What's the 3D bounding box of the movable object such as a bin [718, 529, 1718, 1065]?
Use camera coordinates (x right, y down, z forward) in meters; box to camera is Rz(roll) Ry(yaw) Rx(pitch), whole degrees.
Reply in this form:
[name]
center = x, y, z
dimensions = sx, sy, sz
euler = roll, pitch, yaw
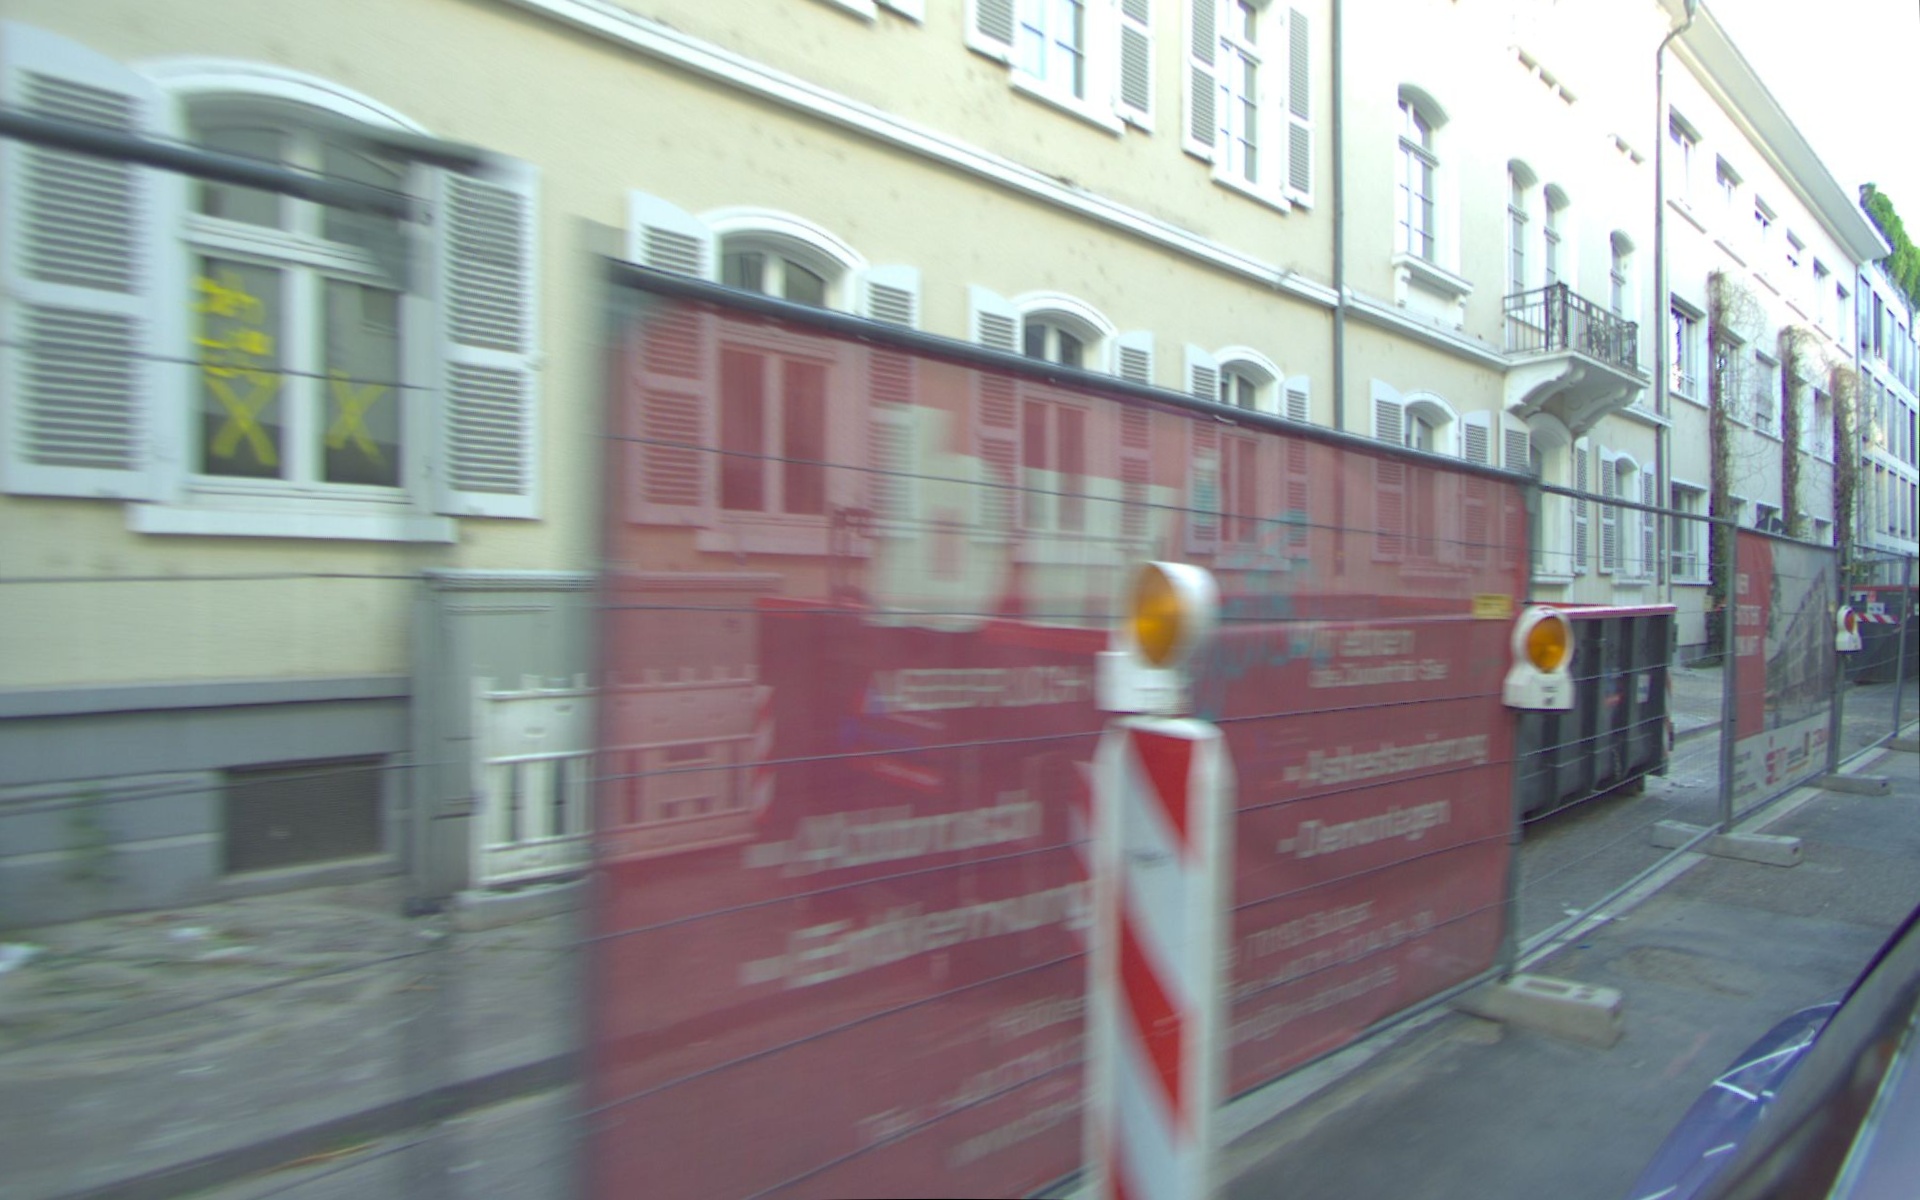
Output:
[movable object such as a bin]
center = 2.344, 0.602, 6.669
dimensions = 7.167, 1.685, 2.895
euler = 0, 1, -42
